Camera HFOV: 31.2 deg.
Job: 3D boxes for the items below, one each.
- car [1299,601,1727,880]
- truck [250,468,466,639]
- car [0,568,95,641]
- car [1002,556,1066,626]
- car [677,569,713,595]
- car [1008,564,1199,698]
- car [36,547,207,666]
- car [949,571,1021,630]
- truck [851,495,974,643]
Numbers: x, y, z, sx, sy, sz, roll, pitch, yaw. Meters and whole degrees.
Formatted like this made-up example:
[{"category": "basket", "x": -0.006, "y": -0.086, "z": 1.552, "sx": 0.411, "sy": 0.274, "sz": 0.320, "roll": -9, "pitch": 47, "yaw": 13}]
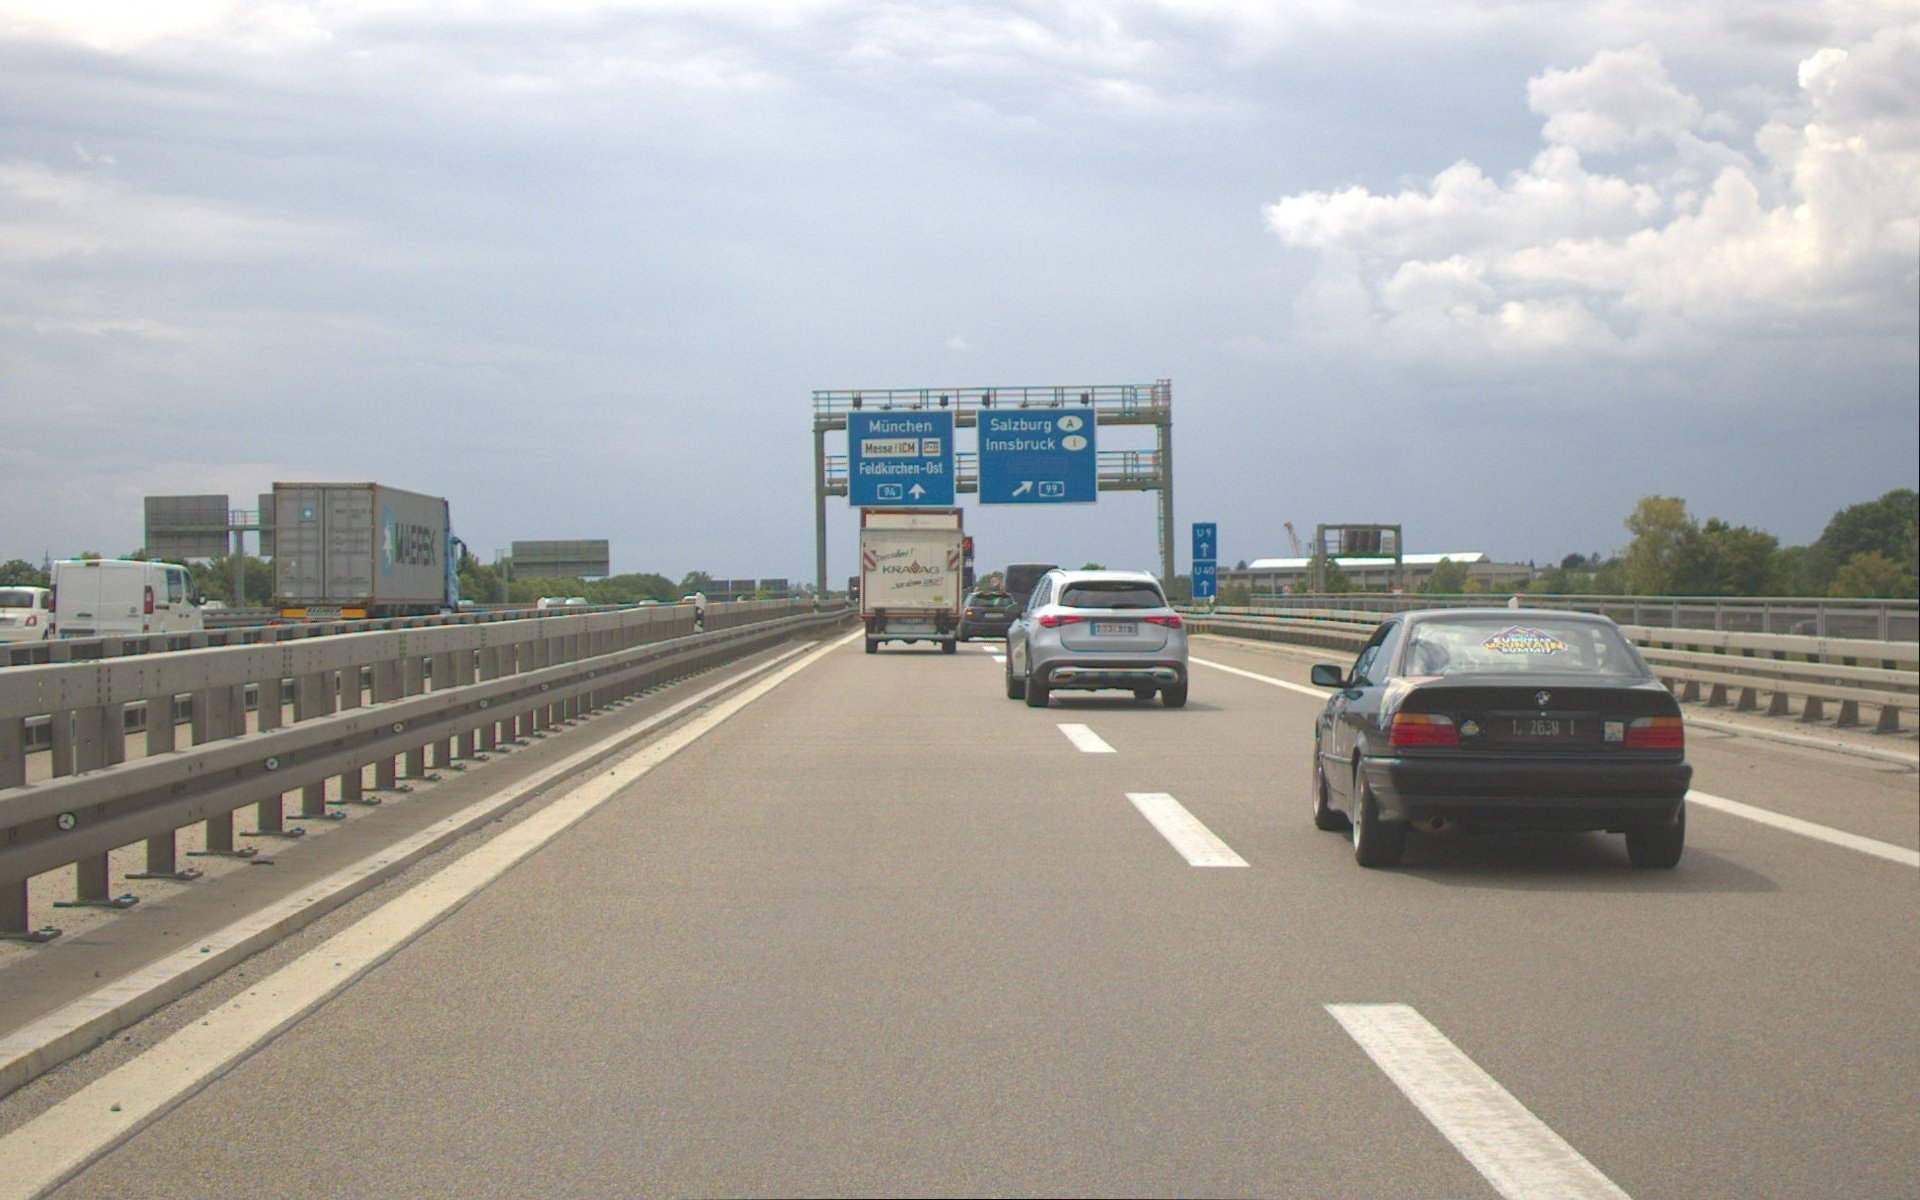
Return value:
[{"category": "car", "x": 2.910, "y": 0.687, "z": 18.933, "sx": 1.704, "sy": 1.277, "sz": 4.366, "roll": 1, "pitch": 1, "yaw": 1}, {"category": "truck", "x": -15.334, "y": -1.216, "z": 89.029, "sx": 3.183, "sy": 4.005, "sz": 16.076, "roll": 1, "pitch": 1, "yaw": -2}, {"category": "car", "x": -19.064, "y": 0.070, "z": 70.052, "sx": 1.798, "sy": 1.415, "sz": 4.000, "roll": 1, "pitch": 1, "yaw": 1}, {"category": "car", "x": 2.437, "y": -0.314, "z": 114.380, "sx": 1.906, "sy": 2.254, "sz": 4.649, "roll": 1, "pitch": 1, "yaw": -1}, {"category": "car", "x": -15.908, "y": -1.080, "z": 206.258, "sx": 1.828, "sy": 1.557, "sz": 4.000, "roll": 0, "pitch": 1, "yaw": 1}, {"category": "car", "x": 1.680, "y": 0.335, "z": 41.557, "sx": 1.819, "sy": 1.509, "sz": 4.001, "roll": 1, "pitch": 1, "yaw": -5}, {"category": "car", "x": -14.830, "y": 0.079, "z": 61.015, "sx": 1.993, "sy": 2.007, "sz": 4.374, "roll": 1, "pitch": 1, "yaw": 0}, {"category": "car", "x": 0.663, "y": -0.002, "z": 94.965, "sx": 1.884, "sy": 1.546, "sz": 4.000, "roll": 1, "pitch": 1, "yaw": -1}, {"category": "truck", "x": -1.047, "y": -0.617, "z": 77.122, "sx": 2.569, "sy": 3.115, "sz": 8.634, "roll": 1, "pitch": 0, "yaw": -1}]
